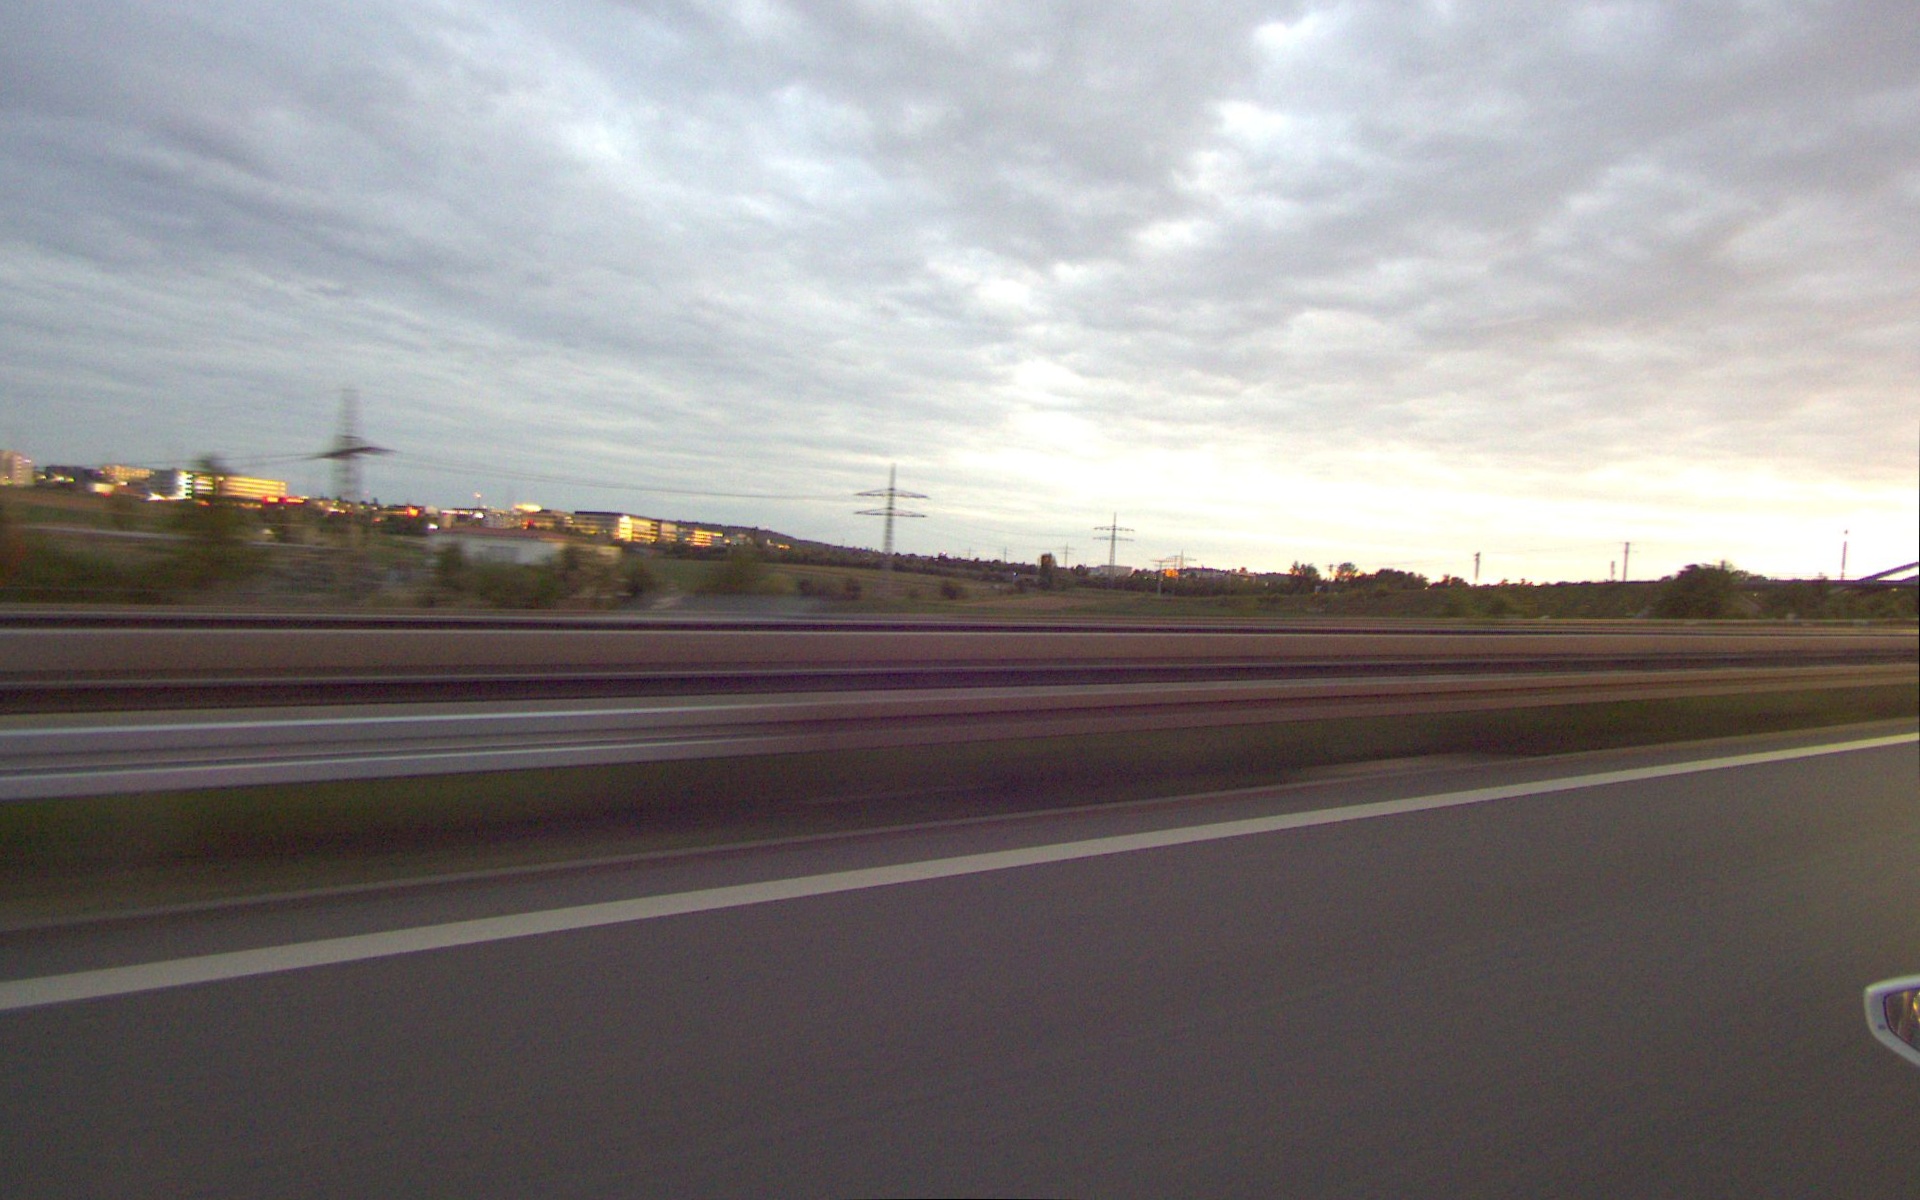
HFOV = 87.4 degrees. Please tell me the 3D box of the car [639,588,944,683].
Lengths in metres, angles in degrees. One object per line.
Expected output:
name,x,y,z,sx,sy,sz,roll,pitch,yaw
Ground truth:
car,-2.806,0.578,17.157,4.748,1.422,1.981,2,0,-34
